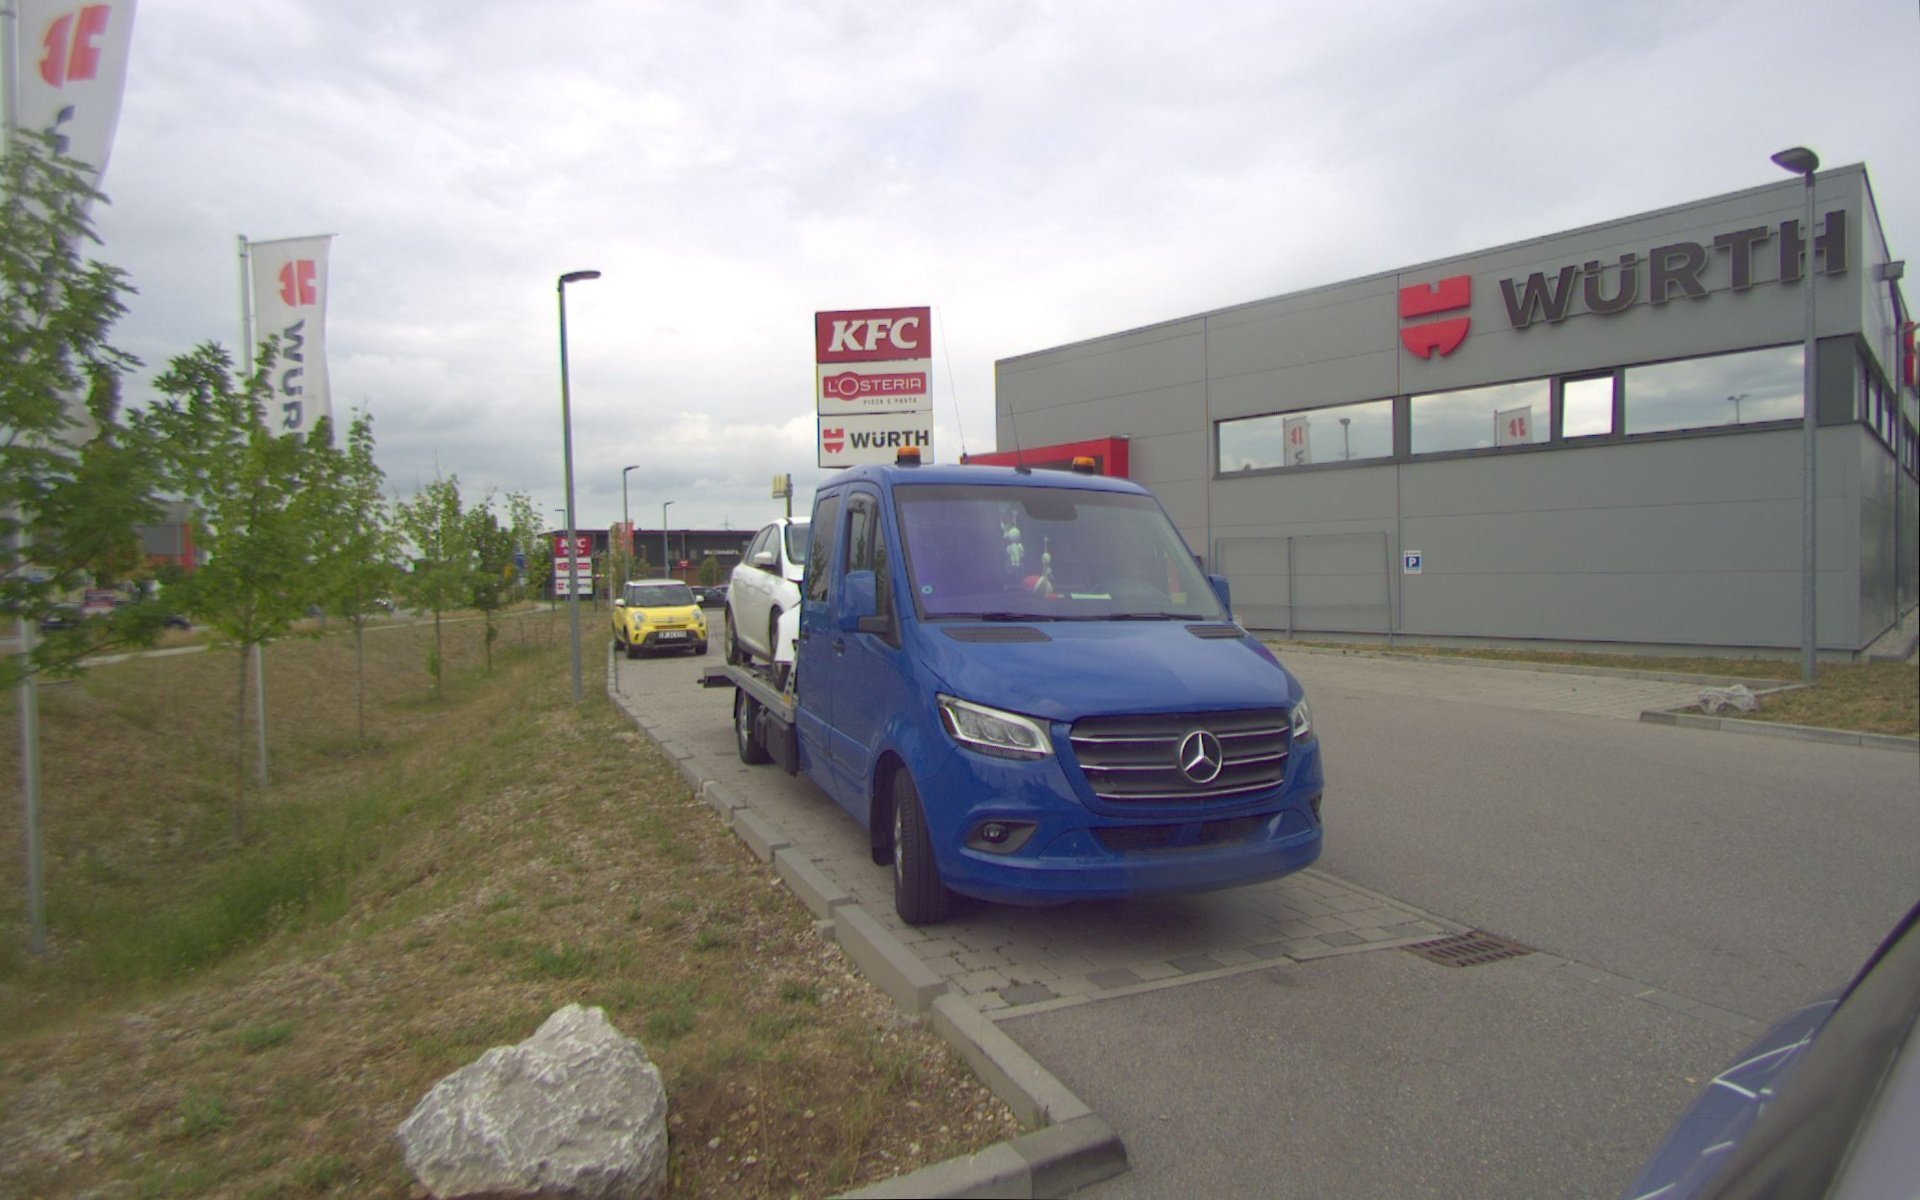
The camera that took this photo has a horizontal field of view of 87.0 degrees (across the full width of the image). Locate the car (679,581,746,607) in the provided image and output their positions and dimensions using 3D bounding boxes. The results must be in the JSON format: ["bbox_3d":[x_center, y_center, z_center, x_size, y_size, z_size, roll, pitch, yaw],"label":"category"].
[{"bbox_3d":[-15.413,-0.413,63.083,3.917,1.437,1.814,-2,1,-14],"label":"car"}]

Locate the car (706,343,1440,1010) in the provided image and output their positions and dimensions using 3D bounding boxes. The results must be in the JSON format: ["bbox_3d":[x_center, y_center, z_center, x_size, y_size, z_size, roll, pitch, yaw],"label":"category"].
[{"bbox_3d":[-0.336,0.147,7.627,2.155,2.351,7.875,-1,2,-20],"label":"car"}]

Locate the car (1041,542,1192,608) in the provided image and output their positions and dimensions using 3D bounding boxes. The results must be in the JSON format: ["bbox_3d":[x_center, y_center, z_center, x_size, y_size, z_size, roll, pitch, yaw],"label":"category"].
[{"bbox_3d":[5.179,-0.806,33.972,4.744,2.038,1.908,0,2,44],"label":"car"}]

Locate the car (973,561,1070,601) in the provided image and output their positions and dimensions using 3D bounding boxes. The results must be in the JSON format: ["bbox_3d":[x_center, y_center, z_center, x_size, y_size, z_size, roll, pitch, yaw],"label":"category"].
[{"bbox_3d":[2.857,-0.874,47.966,1.728,1.770,4.734,-3,2,-41],"label":"car"}]

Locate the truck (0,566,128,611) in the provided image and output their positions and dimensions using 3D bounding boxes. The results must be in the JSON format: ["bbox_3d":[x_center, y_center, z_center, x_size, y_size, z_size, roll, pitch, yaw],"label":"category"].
[{"bbox_3d":[-65.151,-0.917,73.237,2.632,2.981,8.175,-1,2,5],"label":"truck"}]

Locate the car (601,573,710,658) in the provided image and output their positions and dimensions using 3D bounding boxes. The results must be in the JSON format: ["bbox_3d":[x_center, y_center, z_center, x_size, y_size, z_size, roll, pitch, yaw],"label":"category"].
[{"bbox_3d":[-7.110,0.281,23.357,1.717,1.704,4.306,-3,2,-26],"label":"car"}]

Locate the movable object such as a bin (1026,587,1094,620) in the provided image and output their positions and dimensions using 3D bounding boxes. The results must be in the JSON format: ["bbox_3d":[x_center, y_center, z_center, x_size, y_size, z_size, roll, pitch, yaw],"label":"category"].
[{"bbox_3d":[2.453,0.079,24.759,1.558,0.725,0.802,-3,2,-43],"label":"movable object such as a bin"}]
